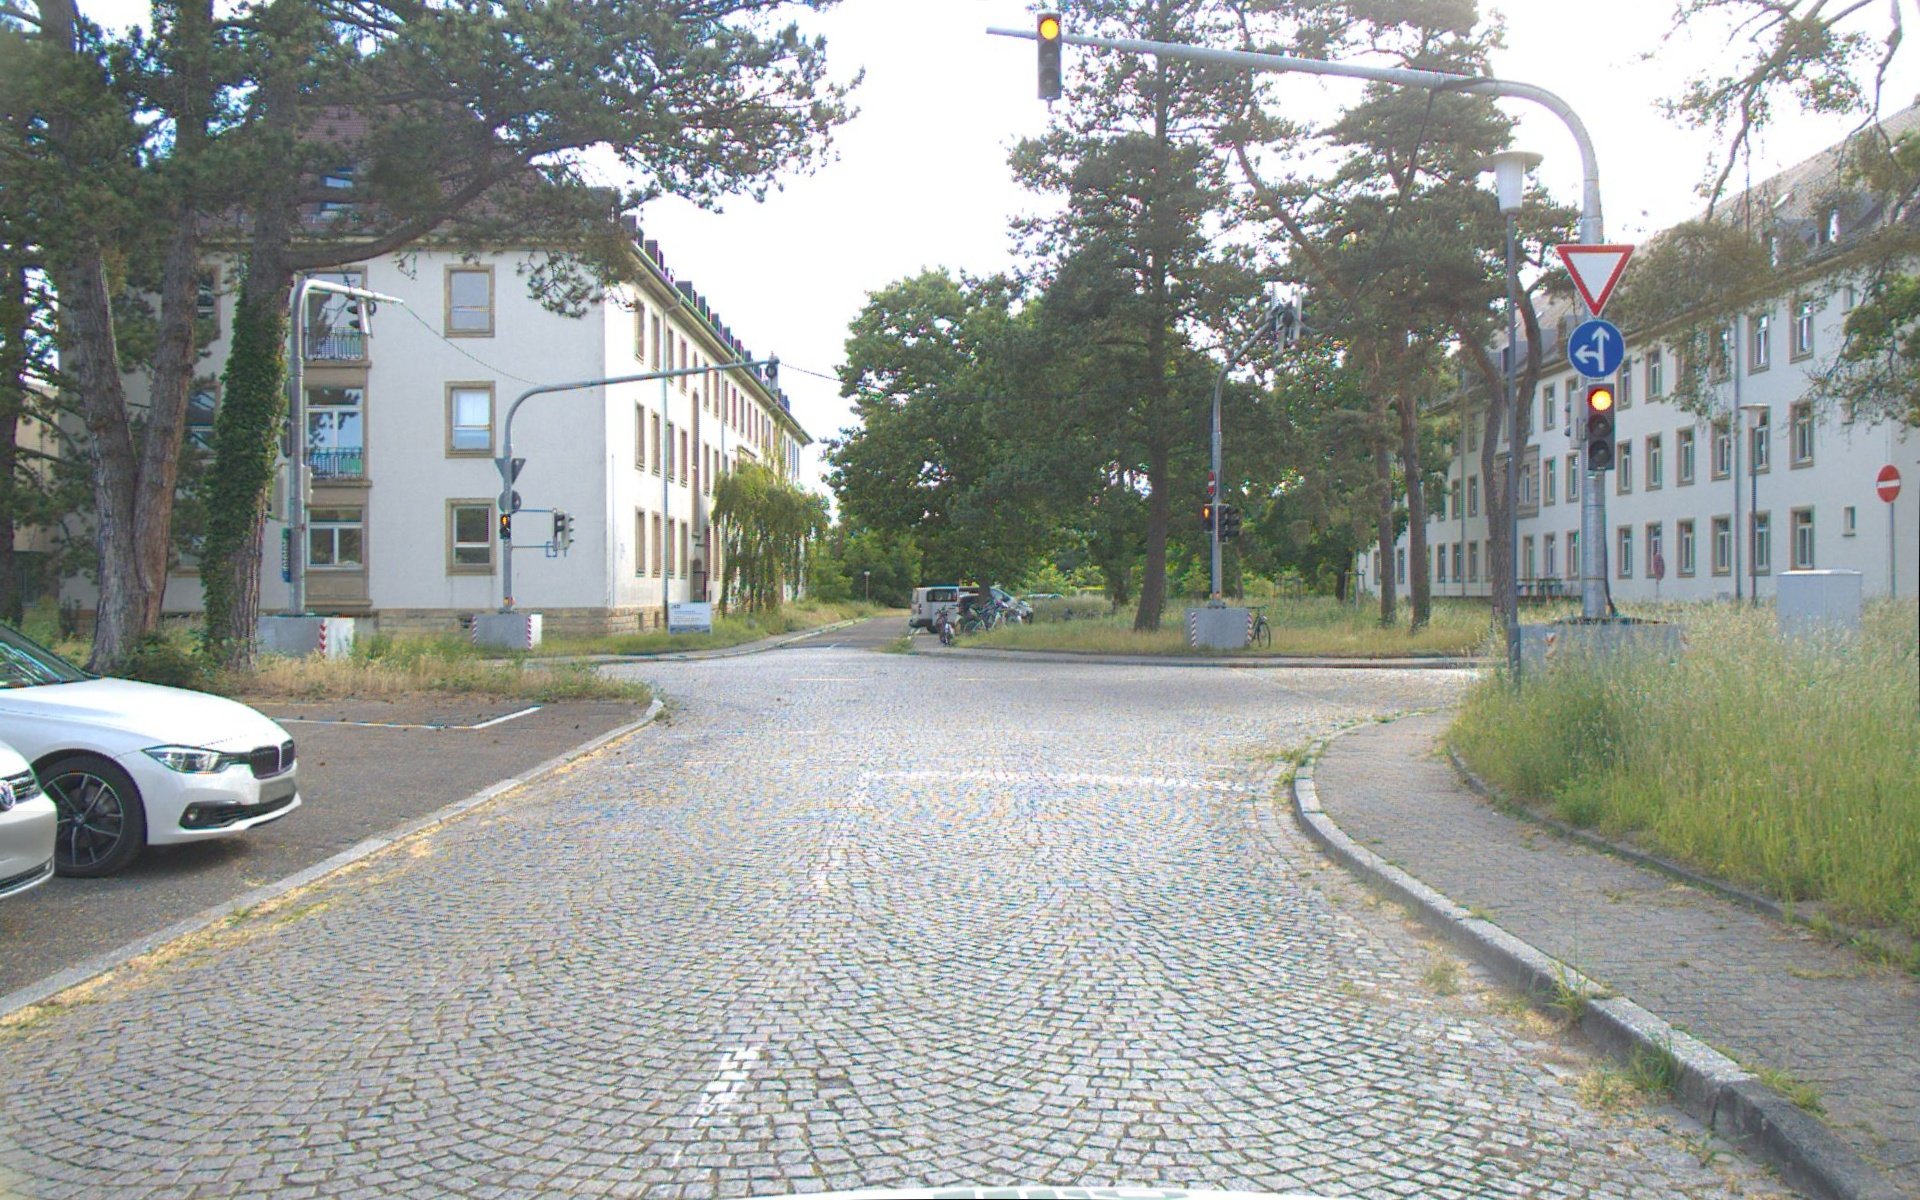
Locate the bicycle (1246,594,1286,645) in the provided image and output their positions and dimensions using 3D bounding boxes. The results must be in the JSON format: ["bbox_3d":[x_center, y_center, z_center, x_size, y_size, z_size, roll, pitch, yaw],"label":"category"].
[{"bbox_3d":[7.366,0.461,39.934,0.708,1.189,2.739,1,0,6],"label":"bicycle"}]

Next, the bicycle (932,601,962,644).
[{"bbox_3d":[-0.357,0.624,47.396,0.711,1.127,2.462,-5,0,1],"label":"bicycle"}]

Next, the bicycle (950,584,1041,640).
[{"bbox_3d":[1.093,0.363,51.686,2.722,1.724,1.119,0,0,-6],"label":"bicycle"}]

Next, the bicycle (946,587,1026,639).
[{"bbox_3d":[0.905,0.459,57.783,2.718,1.723,1.120,2,0,1],"label":"bicycle"}]

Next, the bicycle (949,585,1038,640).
[{"bbox_3d":[1.062,0.388,52.880,2.723,1.724,1.118,0,0,-8],"label":"bicycle"}]

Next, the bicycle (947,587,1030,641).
[{"bbox_3d":[0.993,0.477,56.445,2.717,1.723,1.121,2,0,4],"label":"bicycle"}]

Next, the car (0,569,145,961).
[{"bbox_3d":[-5.886,0.631,7.200,3.755,1.635,1.734,2,0,-3],"label":"car"}]

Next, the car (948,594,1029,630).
[{"bbox_3d":[1.118,0.461,66.079,3.077,1.378,1.618,0,0,-6],"label":"car"}]

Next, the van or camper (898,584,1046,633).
[{"bbox_3d":[0.485,0.334,69.652,5.930,1.983,1.993,-1,0,-14],"label":"van or camper"}]

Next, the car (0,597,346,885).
[{"bbox_3d":[-6.133,0.717,9.644,4.389,1.467,1.829,2,0,-4],"label":"car"}]
